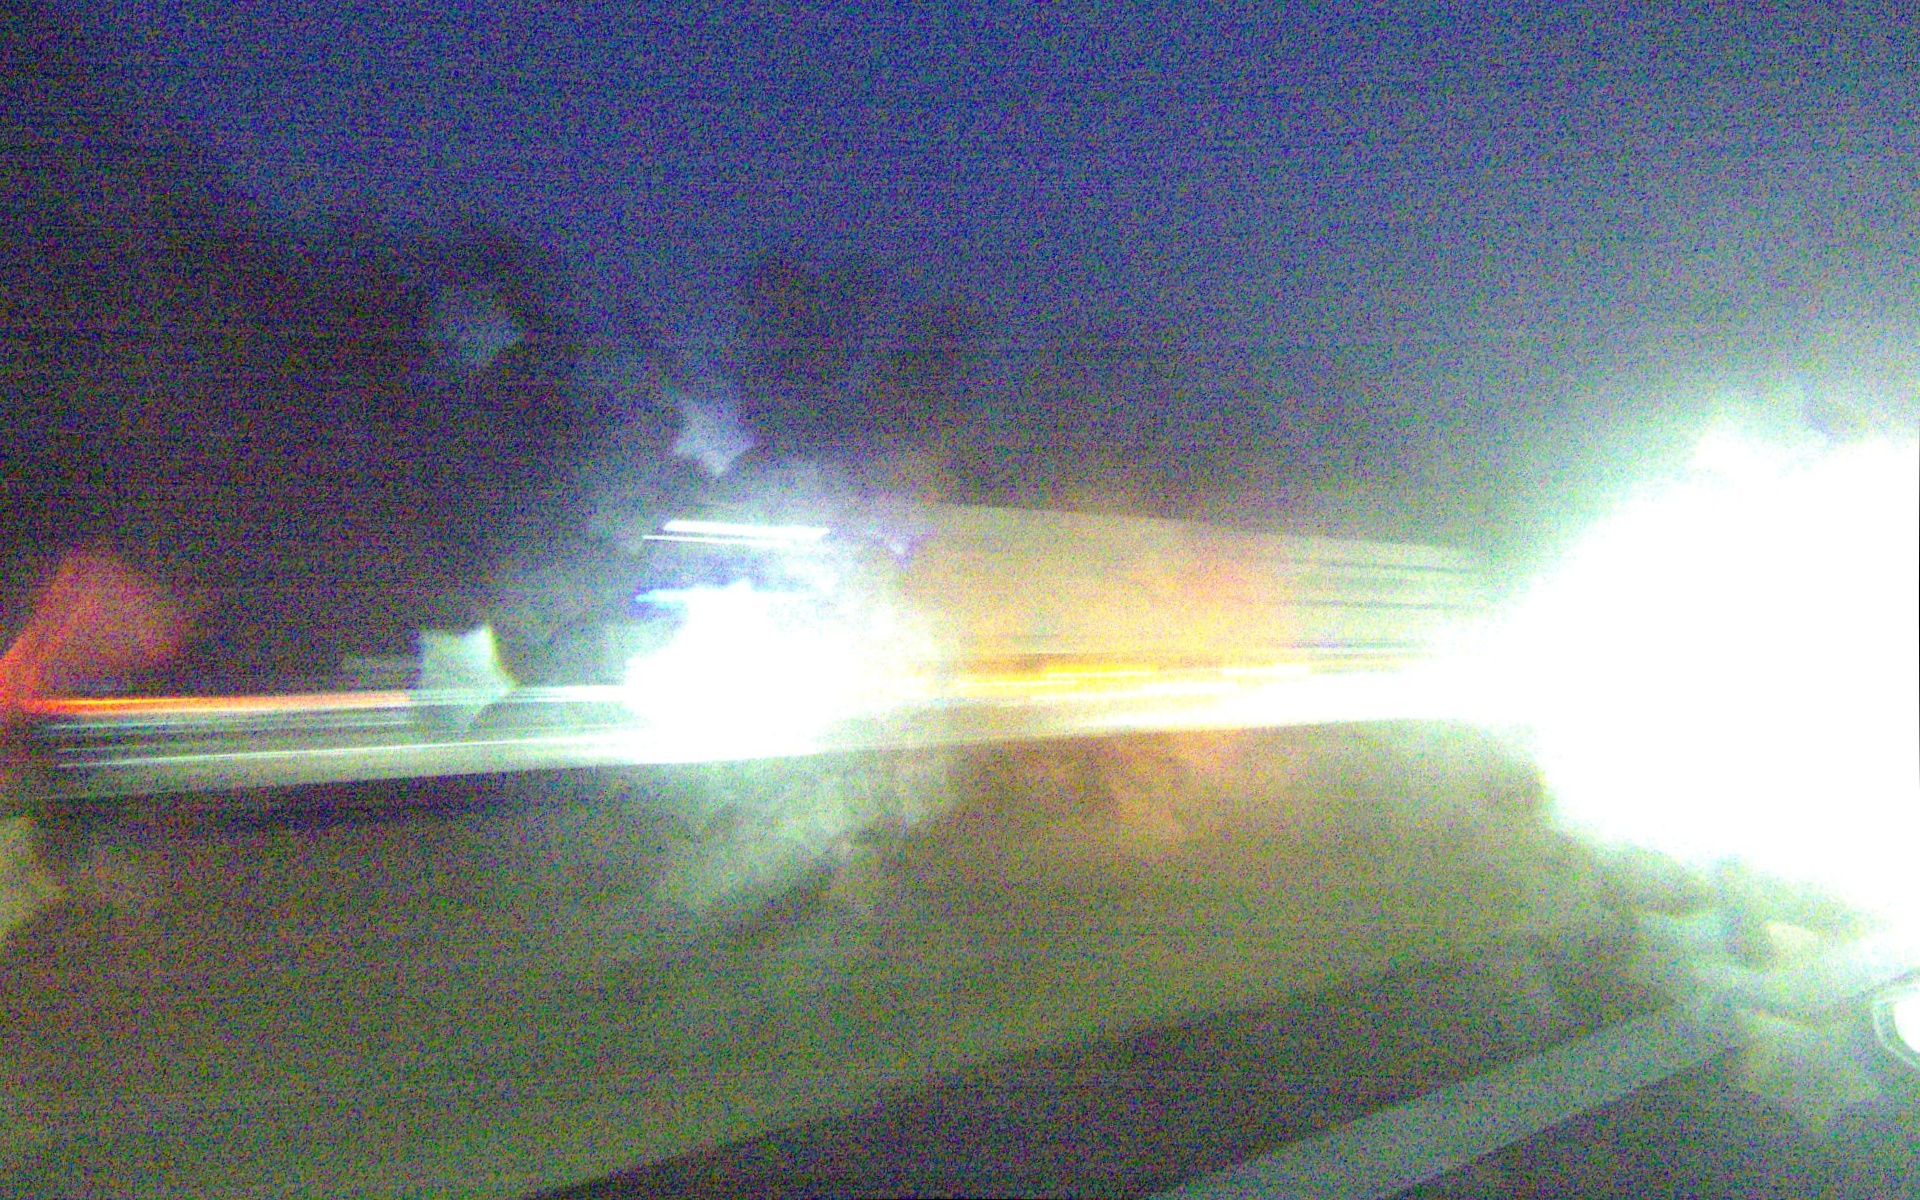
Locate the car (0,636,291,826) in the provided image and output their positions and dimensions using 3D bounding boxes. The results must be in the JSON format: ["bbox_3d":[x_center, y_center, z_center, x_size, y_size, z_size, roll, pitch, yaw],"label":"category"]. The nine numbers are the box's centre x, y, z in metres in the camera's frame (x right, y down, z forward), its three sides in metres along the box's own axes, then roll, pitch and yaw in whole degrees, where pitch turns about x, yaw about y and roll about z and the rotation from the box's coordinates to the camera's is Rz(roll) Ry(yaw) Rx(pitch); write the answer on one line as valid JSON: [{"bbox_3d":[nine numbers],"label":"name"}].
[{"bbox_3d":[-8.429,1.095,8.886,4.070,1.545,1.745,1,-2,-32],"label":"car"}]

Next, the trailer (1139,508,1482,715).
[{"bbox_3d":[8.702,0.421,24.513,8.833,4.332,2.926,2,-3,-31],"label":"trailer"}]

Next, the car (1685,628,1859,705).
[{"bbox_3d":[21.960,1.753,27.132,4.823,1.848,2.052,2,0,-30],"label":"car"}]

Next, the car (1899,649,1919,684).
[{"bbox_3d":[45.705,3.098,46.469,4.907,1.521,1.984,2,0,-30],"label":"car"}]

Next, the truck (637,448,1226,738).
[{"bbox_3d":[-0.065,0.108,19.290,11.302,4.383,2.917,2,-3,-30],"label":"truck"}]
